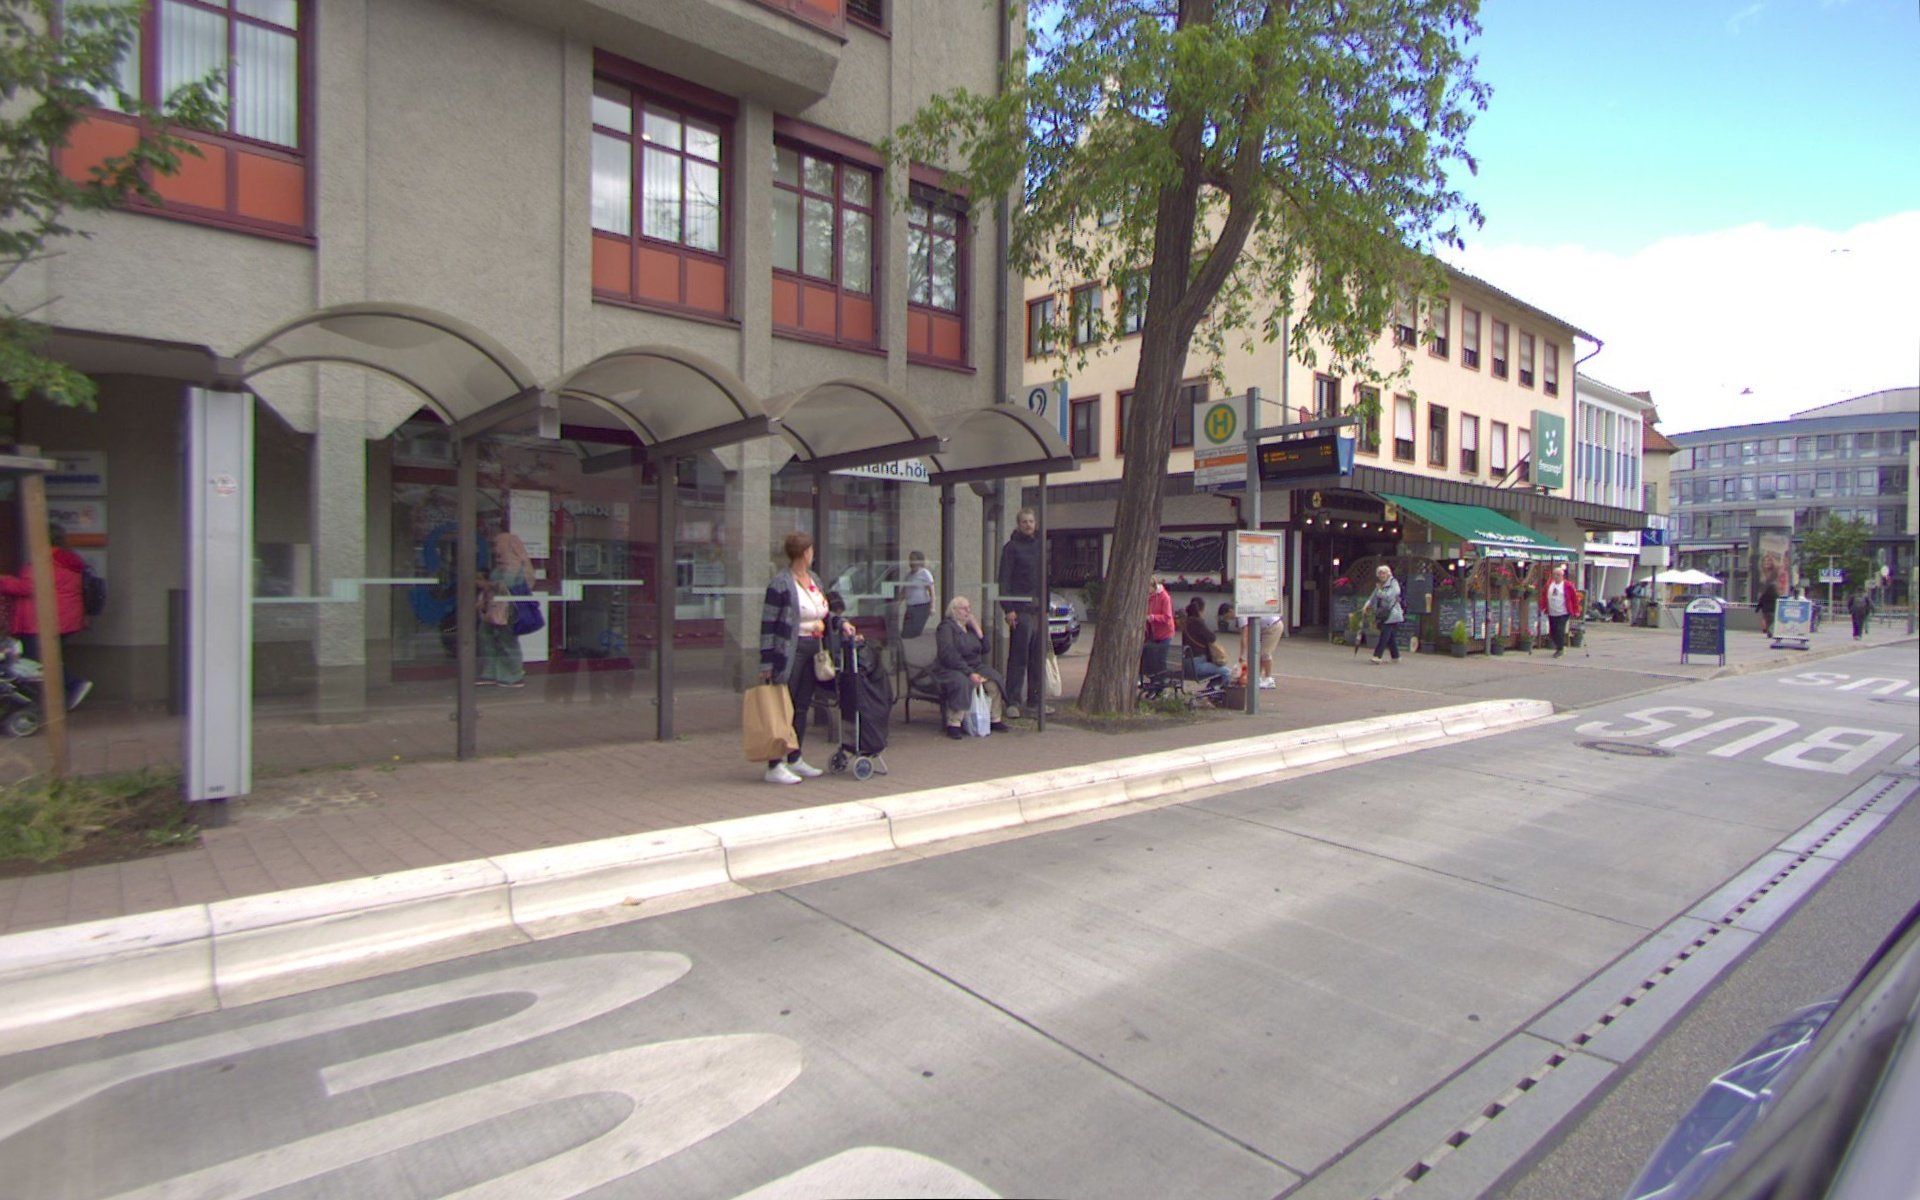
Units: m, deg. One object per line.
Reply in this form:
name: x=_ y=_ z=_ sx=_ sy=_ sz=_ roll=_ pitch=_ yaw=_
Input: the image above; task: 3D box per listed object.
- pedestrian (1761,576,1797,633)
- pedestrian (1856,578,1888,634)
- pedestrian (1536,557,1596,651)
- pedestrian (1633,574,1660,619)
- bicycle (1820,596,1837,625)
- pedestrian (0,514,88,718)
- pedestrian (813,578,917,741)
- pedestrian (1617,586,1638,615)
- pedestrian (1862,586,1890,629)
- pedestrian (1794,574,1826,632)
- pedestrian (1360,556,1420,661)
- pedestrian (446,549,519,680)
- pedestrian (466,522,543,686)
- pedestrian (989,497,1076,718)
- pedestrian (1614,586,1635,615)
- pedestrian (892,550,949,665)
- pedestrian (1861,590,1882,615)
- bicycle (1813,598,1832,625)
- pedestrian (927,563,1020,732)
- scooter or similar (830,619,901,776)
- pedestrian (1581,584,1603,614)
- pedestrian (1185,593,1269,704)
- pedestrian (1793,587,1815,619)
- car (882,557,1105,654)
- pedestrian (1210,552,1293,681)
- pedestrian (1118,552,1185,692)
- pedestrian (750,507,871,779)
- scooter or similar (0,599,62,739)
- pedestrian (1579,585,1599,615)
pedestrian: x=24.454 y=0.119 z=30.218 sx=0.605 sy=1.654 sz=0.719 roll=-1 pitch=2 yaw=-43
pedestrian: x=28.257 y=0.178 z=31.354 sx=0.604 sy=1.699 sz=0.613 roll=1 pitch=1 yaw=-38
pedestrian: x=11.878 y=0.052 z=19.850 sx=0.795 sy=1.763 sz=0.770 roll=4 pitch=4 yaw=44
pedestrian: x=25.699 y=-0.129 z=37.898 sx=0.787 sy=1.655 sz=0.667 roll=1 pitch=0 yaw=-43
bicycle: x=32.998 y=0.400 z=38.445 sx=1.362 sy=1.066 sz=0.274 roll=0 pitch=1 yaw=-40
pedestrian: x=-7.893 y=0.122 z=8.615 sx=0.725 sy=1.655 sz=0.606 roll=1 pitch=0 yaw=41
pedestrian: x=-0.792 y=0.457 z=8.321 sx=0.576 sy=1.247 sz=0.703 roll=0 pitch=3 yaw=-31
pedestrian: x=29.477 y=0.022 z=44.668 sx=0.578 sy=1.236 sz=0.613 roll=1 pitch=-3 yaw=-43
pedestrian: x=35.727 y=0.300 z=39.480 sx=0.838 sy=1.655 sz=0.689 roll=1 pitch=1 yaw=-41
pedestrian: x=24.907 y=0.084 z=29.646 sx=0.605 sy=1.654 sz=0.613 roll=-1 pitch=2 yaw=-43
pedestrian: x=7.484 y=0.125 z=17.613 sx=0.682 sy=1.763 sz=0.770 roll=4 pitch=4 yaw=44
pedestrian: x=-5.260 y=0.151 z=11.145 sx=0.604 sy=1.393 sz=0.587 roll=1 pitch=0 yaw=-38
pedestrian: x=-4.816 y=0.037 z=10.694 sx=0.604 sy=1.655 sz=0.587 roll=1 pitch=0 yaw=-39
pedestrian: x=0.702 y=0.057 z=9.908 sx=0.576 sy=2.072 sz=0.616 roll=0 pitch=2 yaw=-27
pedestrian: x=29.043 y=0.023 z=44.223 sx=0.578 sy=1.235 sz=0.614 roll=1 pitch=2 yaw=-43
pedestrian: x=-0.584 y=0.099 z=14.905 sx=0.604 sy=1.655 sz=0.587 roll=0 pitch=1 yaw=-40
pedestrian: x=63.115 y=0.173 z=70.061 sx=0.834 sy=1.656 sz=0.641 roll=-2 pitch=-2 yaw=16
bicycle: x=31.922 y=0.419 z=37.445 sx=1.362 sy=0.986 sz=0.274 roll=0 pitch=1 yaw=-40
pedestrian: x=0.110 y=0.392 z=8.971 sx=0.576 sy=1.418 sz=0.616 roll=0 pitch=3 yaw=-27
scooter or similar: x=-0.614 y=0.625 z=6.640 sx=0.379 sy=0.971 sz=0.355 roll=1 pitch=1 yaw=9
pedestrian: x=26.662 y=-0.020 z=42.684 sx=0.578 sy=1.236 sz=0.613 roll=1 pitch=-3 yaw=-43
pedestrian: x=2.970 y=0.524 z=11.265 sx=0.711 sy=1.181 sz=0.579 roll=0 pitch=-1 yaw=43
pedestrian: x=44.565 y=0.162 z=53.432 sx=0.580 sy=1.643 sz=0.740 roll=-2 pitch=-2 yaw=18
car: x=0.496 y=0.058 z=19.442 sx=1.845 sy=1.640 sz=4.618 roll=0 pitch=1 yaw=-36
pedestrian: x=3.916 y=0.213 z=13.596 sx=0.778 sy=1.654 sz=0.616 roll=1 pitch=3 yaw=-29
pedestrian: x=2.248 y=0.258 z=11.916 sx=0.481 sy=1.587 sz=0.675 roll=2 pitch=-2 yaw=-20
pedestrian: x=-0.960 y=0.270 z=6.542 sx=0.530 sy=1.656 sz=0.583 roll=-2 pitch=-2 yaw=25
scooter or similar: x=-7.355 y=0.508 z=7.439 sx=1.116 sy=1.013 sz=0.429 roll=0 pitch=1 yaw=-42
pedestrian: x=26.971 y=-0.002 z=43.392 sx=0.578 sy=1.235 sz=0.614 roll=1 pitch=0 yaw=-43
